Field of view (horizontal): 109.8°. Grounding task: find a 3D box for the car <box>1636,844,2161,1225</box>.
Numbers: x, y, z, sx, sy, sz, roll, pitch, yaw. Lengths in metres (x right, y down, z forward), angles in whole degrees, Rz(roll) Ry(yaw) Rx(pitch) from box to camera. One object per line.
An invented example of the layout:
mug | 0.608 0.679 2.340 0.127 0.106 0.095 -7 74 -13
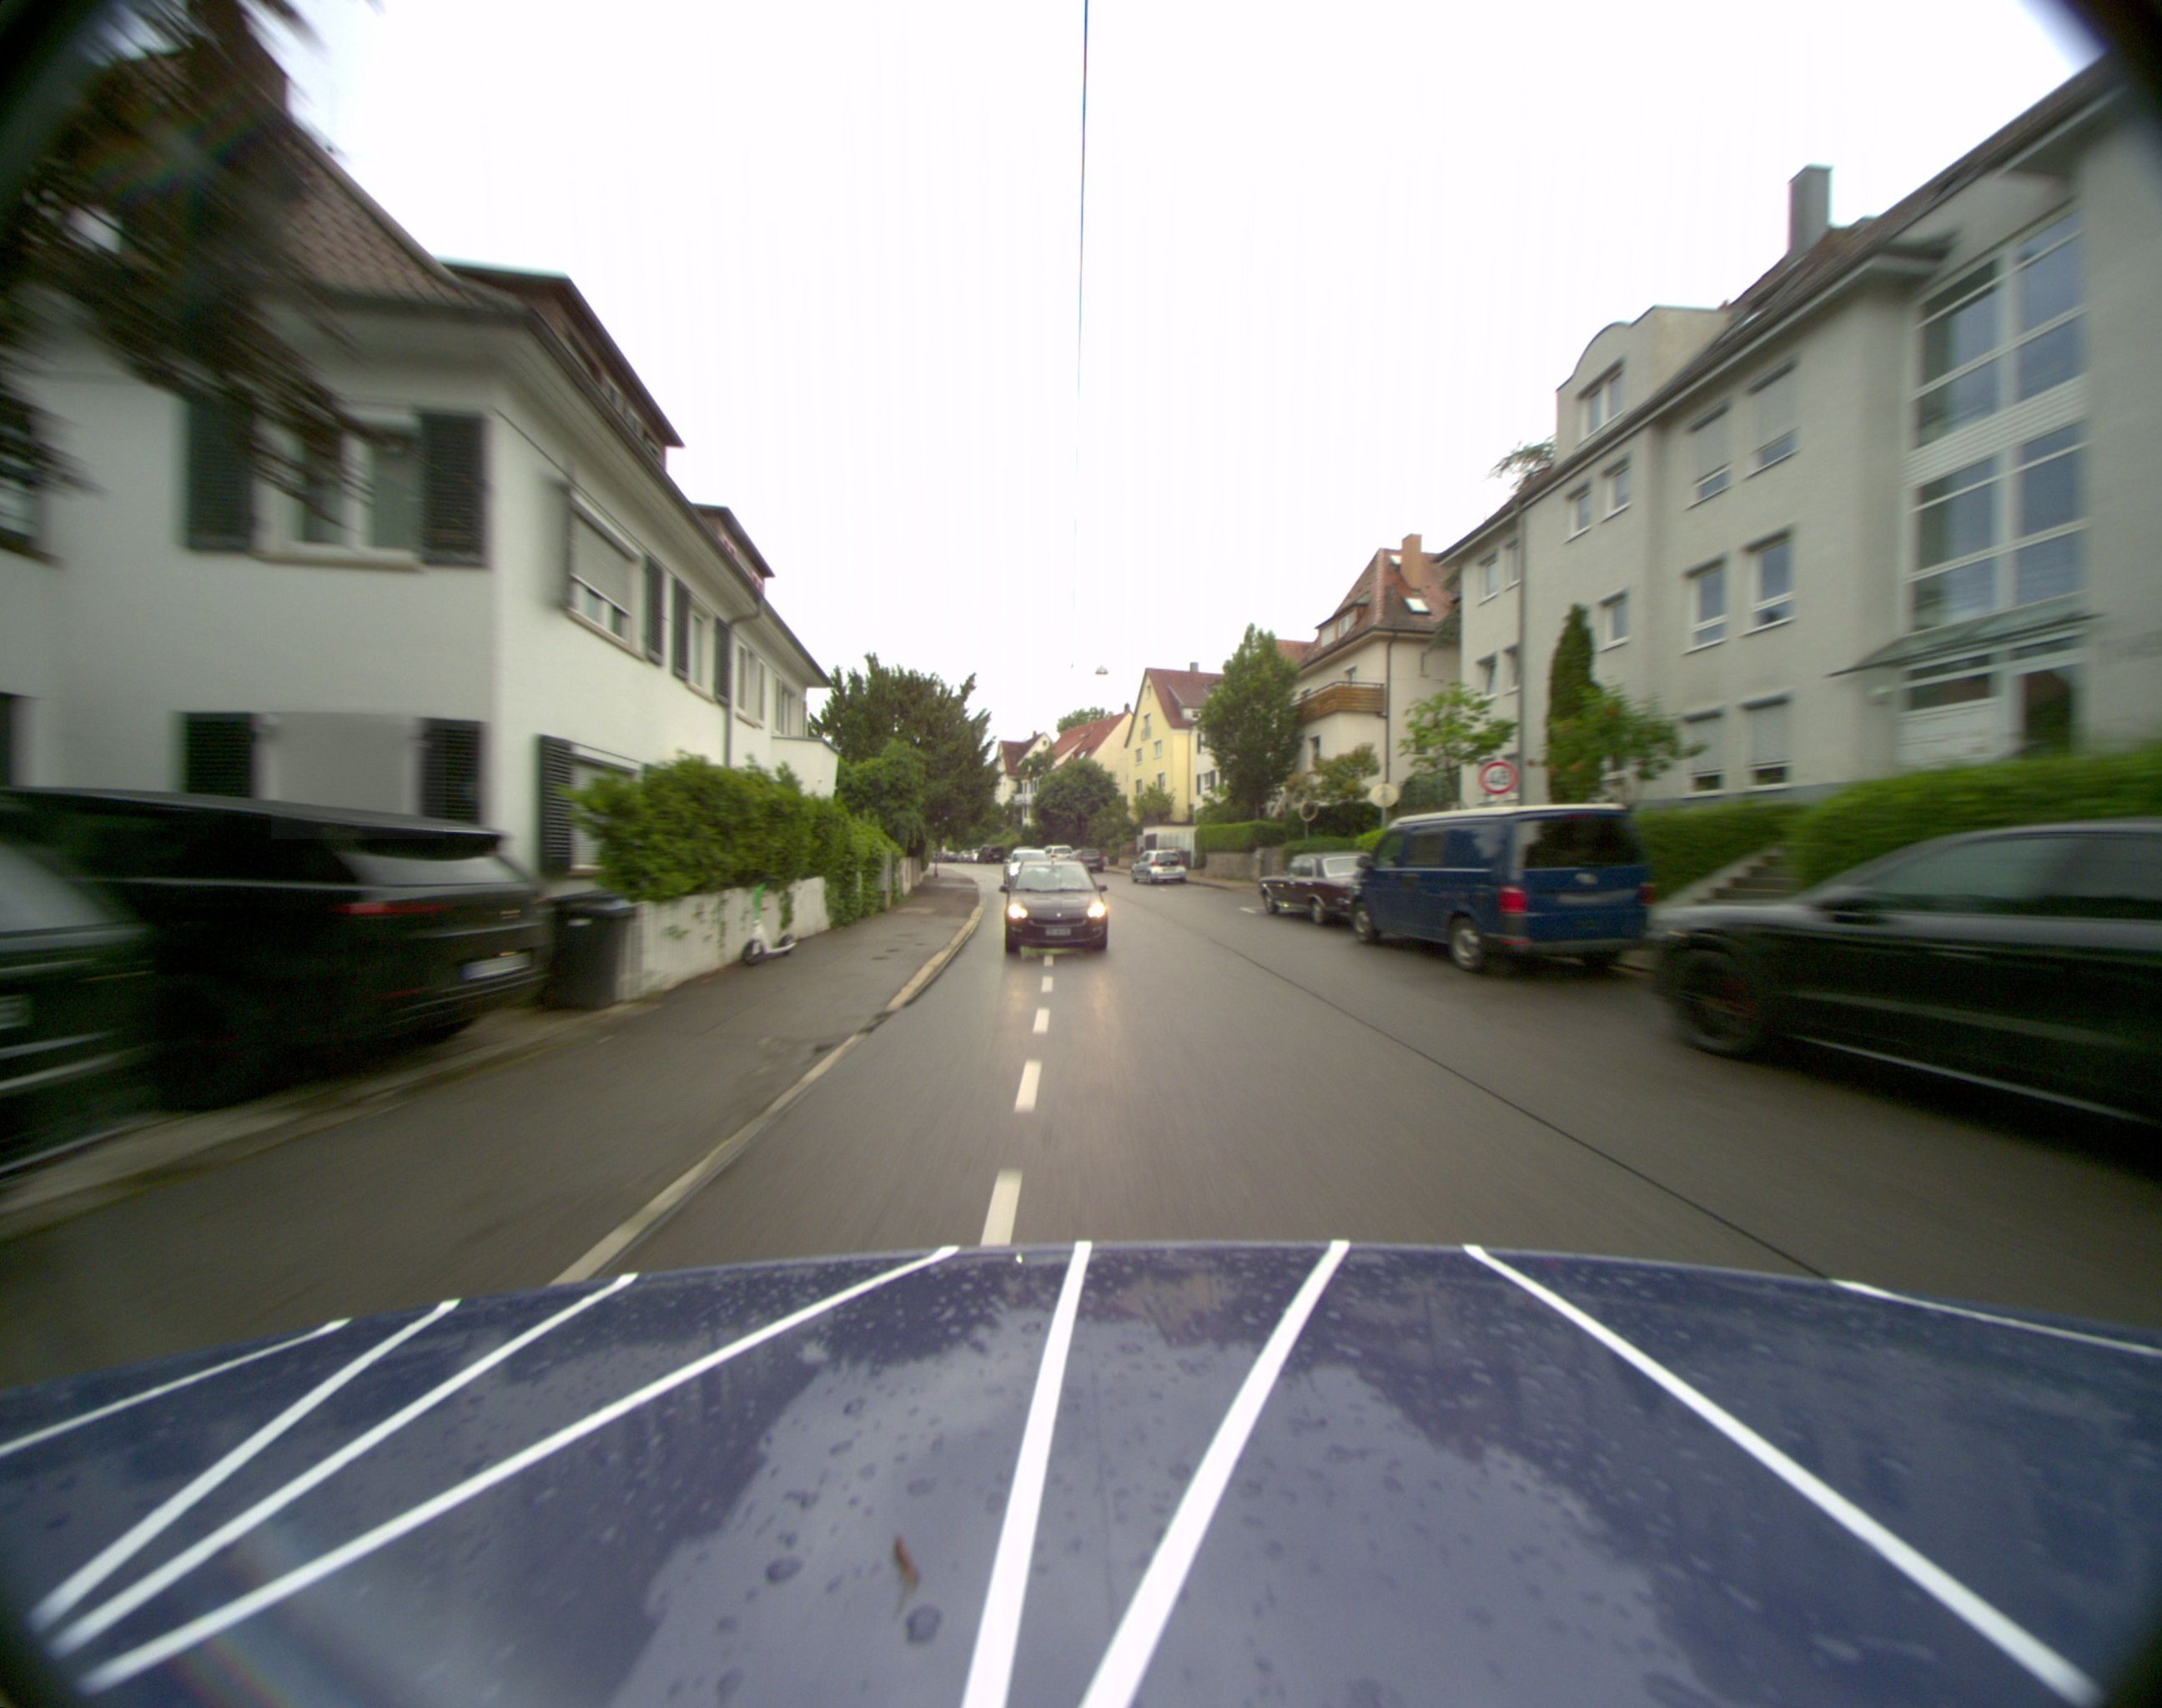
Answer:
car | 5.421 0.755 3.768 1.836 1.585 4.746 0 0 0

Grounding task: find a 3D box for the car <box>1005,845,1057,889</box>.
car | -2.121 0.503 31.381 1.797 1.689 3.888 -1 0 -9

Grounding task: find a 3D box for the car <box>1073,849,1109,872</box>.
car | 0.567 0.393 47.422 1.680 1.364 3.438 -1 0 -9

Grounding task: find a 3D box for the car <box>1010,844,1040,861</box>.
car | -4.925 -0.106 66.770 1.682 1.364 4.430 -1 0 -17

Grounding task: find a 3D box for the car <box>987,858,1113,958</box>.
car | -0.486 0.834 13.434 1.899 1.455 3.681 -1 0 0

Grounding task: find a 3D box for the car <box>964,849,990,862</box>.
car | -11.587 0.220 84.706 1.682 1.364 4.428 -1 0 -23

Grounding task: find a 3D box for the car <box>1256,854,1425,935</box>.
car | 5.283 0.738 16.166 1.680 1.364 4.508 -1 1 -6

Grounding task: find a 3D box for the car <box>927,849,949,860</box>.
car | -19.200 0.083 101.700 1.683 1.364 4.427 -1 0 -27

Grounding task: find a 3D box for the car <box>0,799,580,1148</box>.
car | -6.224 0.591 4.971 4.464 1.799 1.941 3 0 -4

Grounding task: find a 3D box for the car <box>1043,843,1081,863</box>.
car | -1.453 -0.035 55.691 1.682 1.364 4.430 2 -1 -17

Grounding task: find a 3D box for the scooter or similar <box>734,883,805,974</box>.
scooter or similar | -4.233 0.982 10.404 0.447 1.124 1.275 0 0 0

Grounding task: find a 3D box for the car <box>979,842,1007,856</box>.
car | -9.042 -0.510 77.808 1.682 1.364 3.878 -1 0 -23

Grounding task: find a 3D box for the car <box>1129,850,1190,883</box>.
car | 3.439 0.536 33.749 1.681 1.364 3.437 -1 0 -13

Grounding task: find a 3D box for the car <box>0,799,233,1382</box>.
car | -5.659 0.604 1.921 4.743 1.799 1.942 3 0 -1

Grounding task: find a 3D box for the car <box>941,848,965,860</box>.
car | -16.315 0.030 96.556 1.683 1.364 4.427 -1 0 -27

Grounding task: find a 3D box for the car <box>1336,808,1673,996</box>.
car | 5.341 0.502 10.459 1.837 1.976 4.579 -1 0 -4

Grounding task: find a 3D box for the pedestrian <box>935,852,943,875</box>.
pedestrian | -7.487 0.503 40.128 0.427 1.239 0.315 0 1 -10

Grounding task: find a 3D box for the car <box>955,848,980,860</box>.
car | -13.467 0.055 89.918 1.683 1.364 4.428 -1 0 -25
